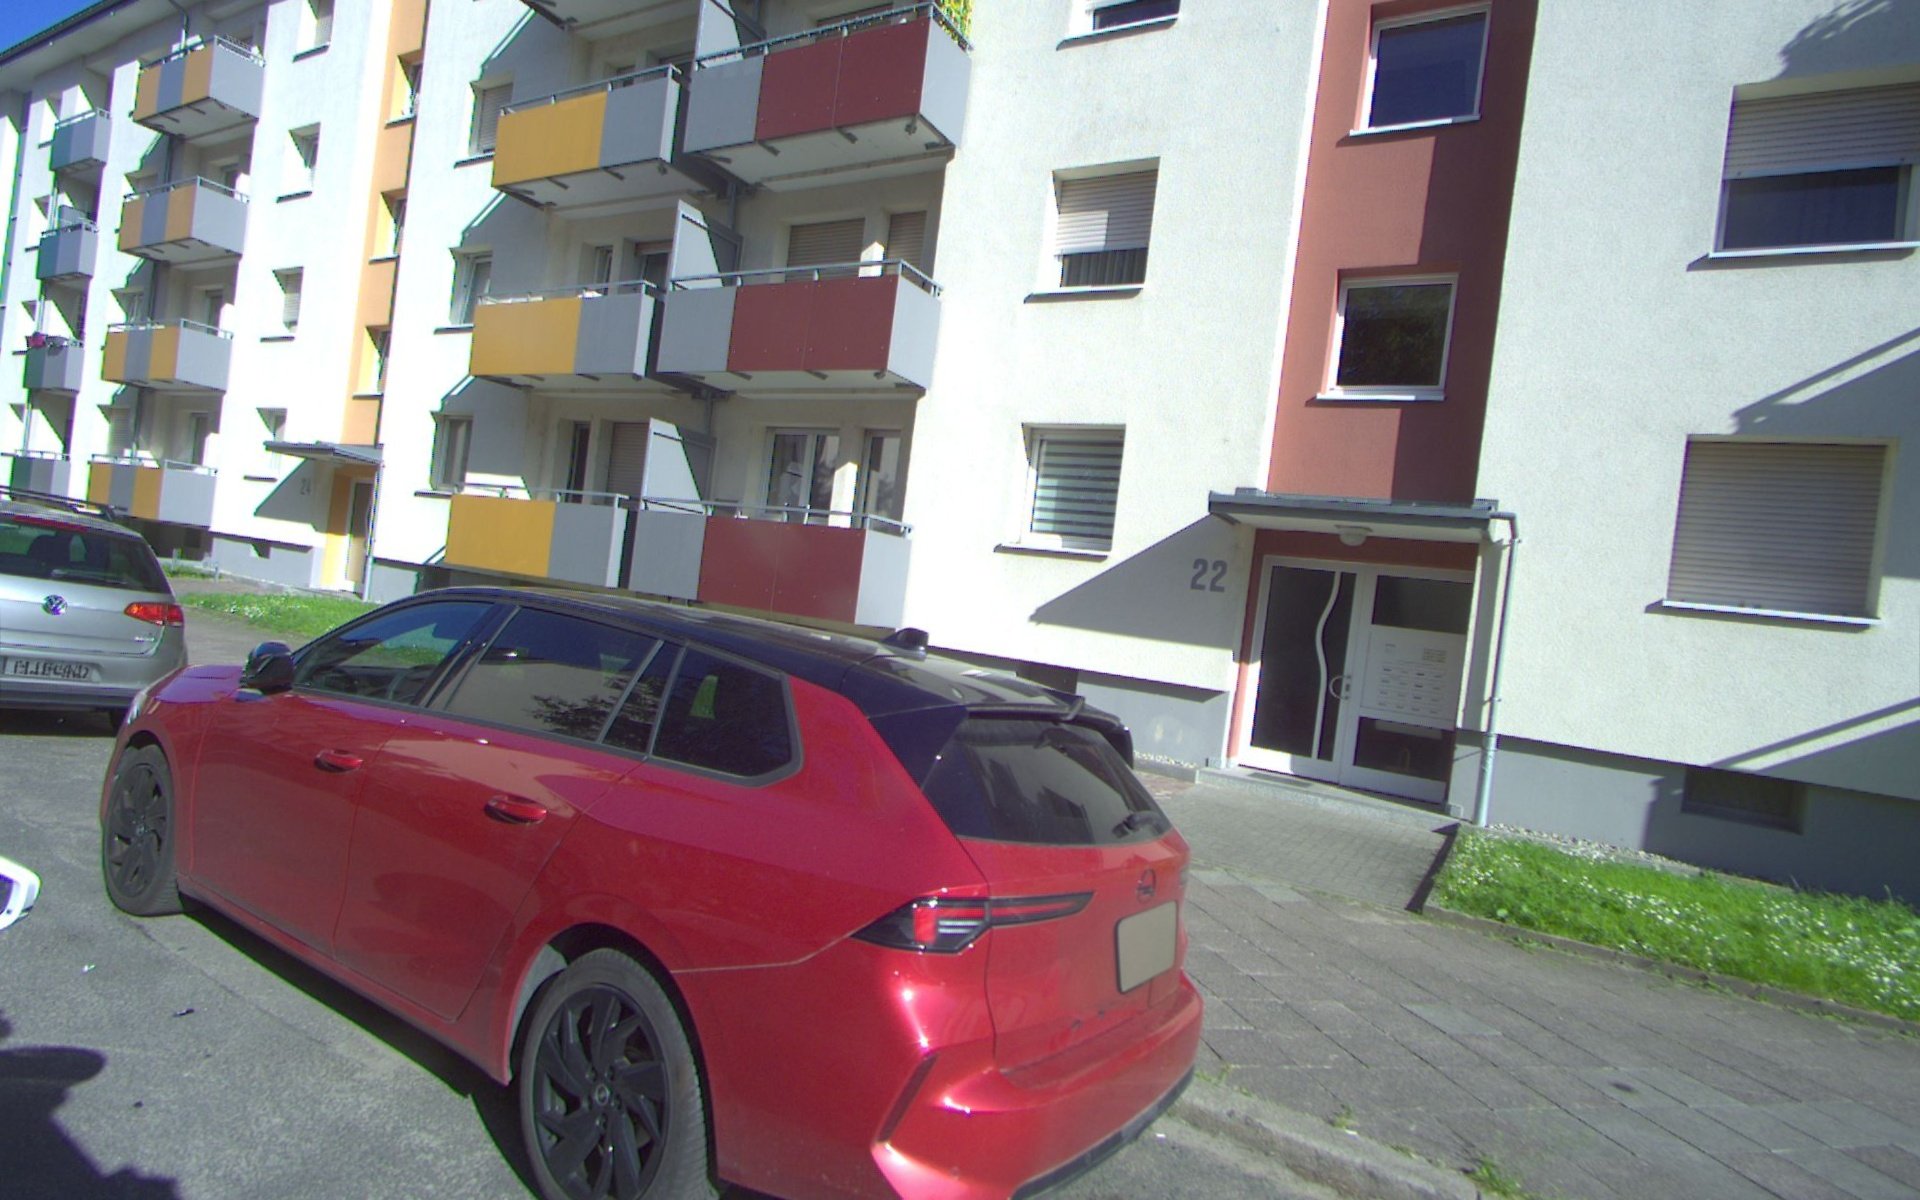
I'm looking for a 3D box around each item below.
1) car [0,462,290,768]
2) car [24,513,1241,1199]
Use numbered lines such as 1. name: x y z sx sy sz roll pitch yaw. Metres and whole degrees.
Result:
1. car: -6.957 -0.075 6.918 4.524 1.638 1.905 7 -4 30
2. car: -1.490 0.661 3.734 4.449 1.460 1.755 6 -2 33
